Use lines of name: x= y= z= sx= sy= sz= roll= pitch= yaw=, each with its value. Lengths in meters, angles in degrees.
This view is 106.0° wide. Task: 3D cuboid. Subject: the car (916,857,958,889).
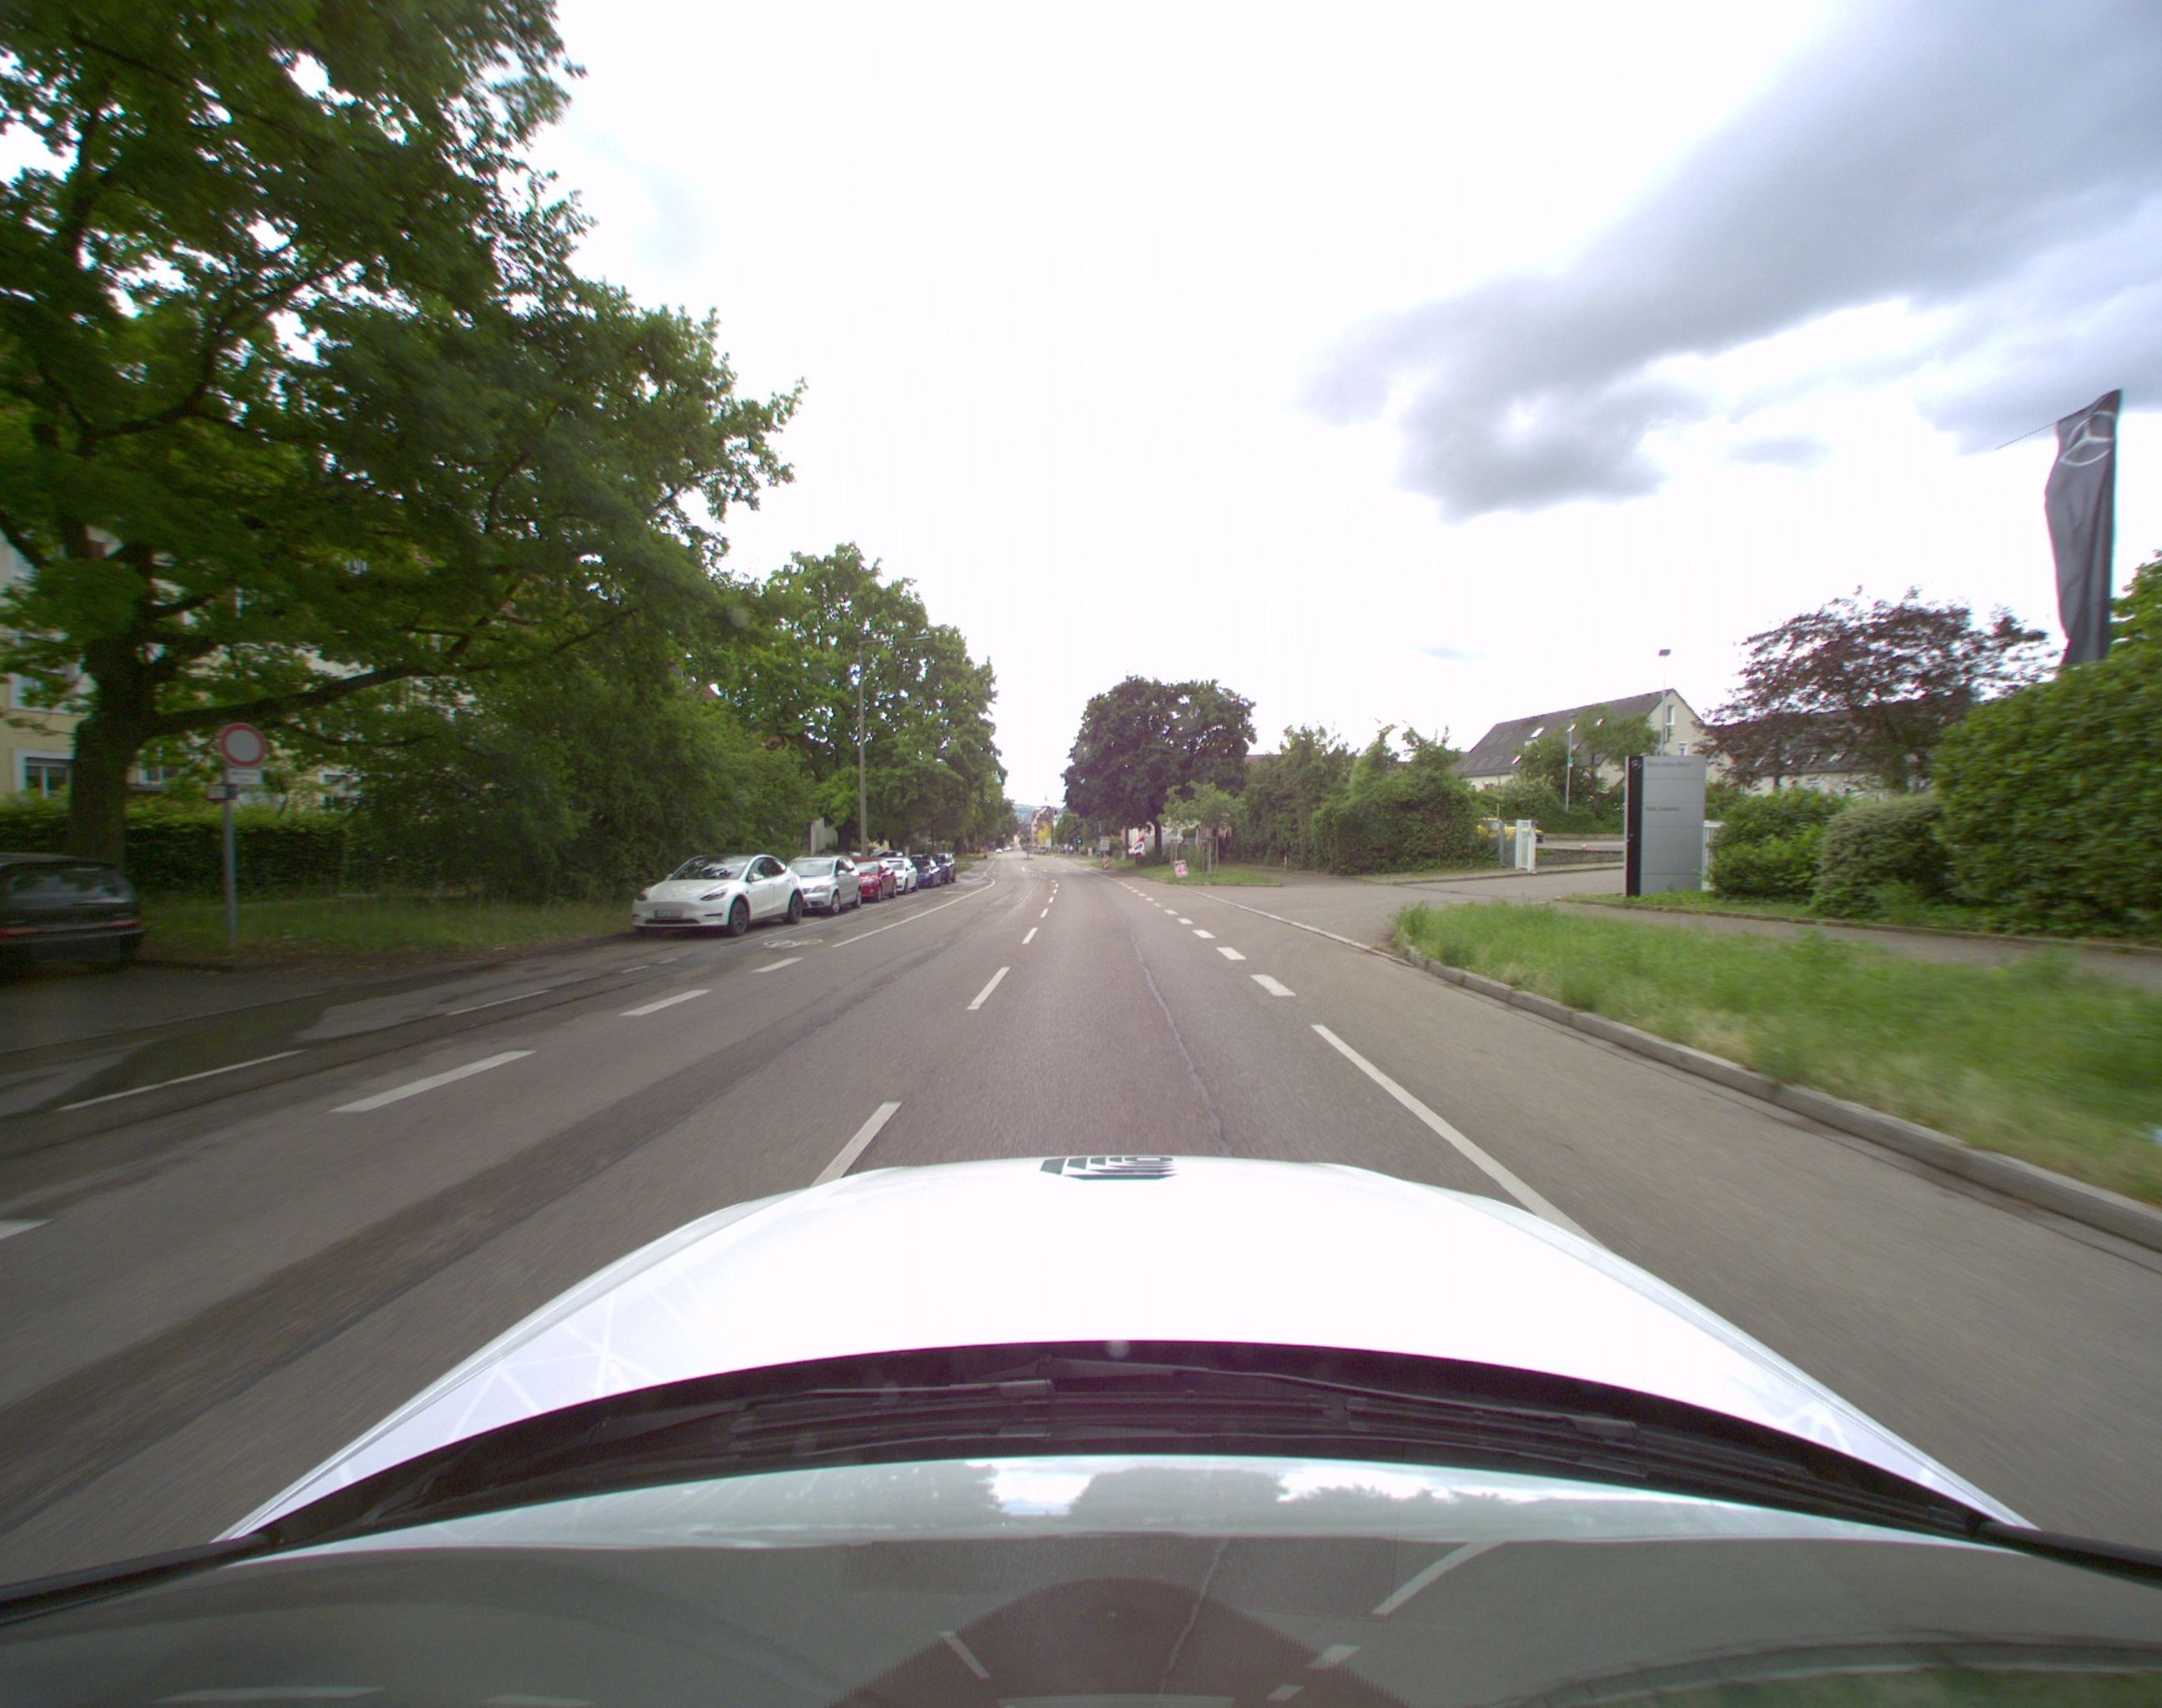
car: x=-7.903 y=1.009 z=45.052 sx=1.711 sy=1.612 sz=4.531 roll=0 pitch=1 yaw=-2

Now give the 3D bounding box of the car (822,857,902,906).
car: x=-7.466 y=0.888 z=28.149 sx=1.711 sy=1.573 sz=4.367 roll=0 pitch=0 yaw=-2

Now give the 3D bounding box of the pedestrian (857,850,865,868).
pedestrian: x=-20.446 y=0.442 z=75.704 sx=0.629 sy=1.613 sz=0.828 roll=0 pitch=0 yaw=-7

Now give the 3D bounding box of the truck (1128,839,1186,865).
truck: x=9.951 y=-0.320 z=106.916 sx=7.221 sy=3.307 sz=2.533 roll=0 pitch=0 yaw=-8

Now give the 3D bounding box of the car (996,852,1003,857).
car: x=-25.144 y=0.203 z=250.814 sx=1.991 sy=1.505 sz=3.992 roll=0 pitch=0 yaw=-6

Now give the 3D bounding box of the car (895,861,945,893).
car: x=-7.698 y=1.052 z=39.328 sx=1.711 sy=1.389 sz=4.334 roll=0 pitch=0 yaw=-2

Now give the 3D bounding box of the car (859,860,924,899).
car: x=-7.683 y=0.994 z=33.455 sx=1.711 sy=1.459 sz=4.752 roll=0 pitch=0 yaw=-2

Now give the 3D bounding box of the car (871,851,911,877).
car: x=-12.808 y=0.661 z=55.096 sx=1.756 sy=1.633 sz=3.998 roll=2 pitch=0 yaw=-1

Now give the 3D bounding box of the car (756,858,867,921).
car: x=-7.377 y=0.910 z=22.746 sx=1.864 sy=1.573 sz=4.116 roll=0 pitch=0 yaw=-2

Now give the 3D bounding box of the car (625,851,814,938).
car: x=-7.448 y=0.757 z=17.395 sx=1.760 sy=1.573 sz=4.762 roll=-1 pitch=0 yaw=2

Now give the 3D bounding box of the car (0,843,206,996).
car: x=-13.397 y=0.622 z=9.515 sx=4.412 sy=1.454 sz=1.889 roll=4 pitch=0 yaw=4

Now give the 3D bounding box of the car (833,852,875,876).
car: x=-15.370 y=0.629 z=55.319 sx=1.758 sy=1.470 sz=4.435 roll=2 pitch=0 yaw=-3

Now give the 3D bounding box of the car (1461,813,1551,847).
car: x=22.323 y=-1.221 z=42.767 sx=3.948 sy=1.651 sz=2.013 roll=0 pitch=0 yaw=35

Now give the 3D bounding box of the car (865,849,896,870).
car: x=-16.328 y=0.424 z=66.574 sx=1.758 sy=1.633 sz=4.282 roll=0 pitch=0 yaw=-4

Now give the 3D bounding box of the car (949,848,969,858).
car: x=-21.306 y=-0.201 z=142.359 sx=3.445 sy=1.596 sz=1.996 roll=0 pitch=0 yaw=-7

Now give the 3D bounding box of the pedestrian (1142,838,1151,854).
pedestrian: x=7.947 y=-0.936 z=98.573 sx=0.750 sy=1.855 sz=0.949 roll=-3 pitch=1 yaw=-19
